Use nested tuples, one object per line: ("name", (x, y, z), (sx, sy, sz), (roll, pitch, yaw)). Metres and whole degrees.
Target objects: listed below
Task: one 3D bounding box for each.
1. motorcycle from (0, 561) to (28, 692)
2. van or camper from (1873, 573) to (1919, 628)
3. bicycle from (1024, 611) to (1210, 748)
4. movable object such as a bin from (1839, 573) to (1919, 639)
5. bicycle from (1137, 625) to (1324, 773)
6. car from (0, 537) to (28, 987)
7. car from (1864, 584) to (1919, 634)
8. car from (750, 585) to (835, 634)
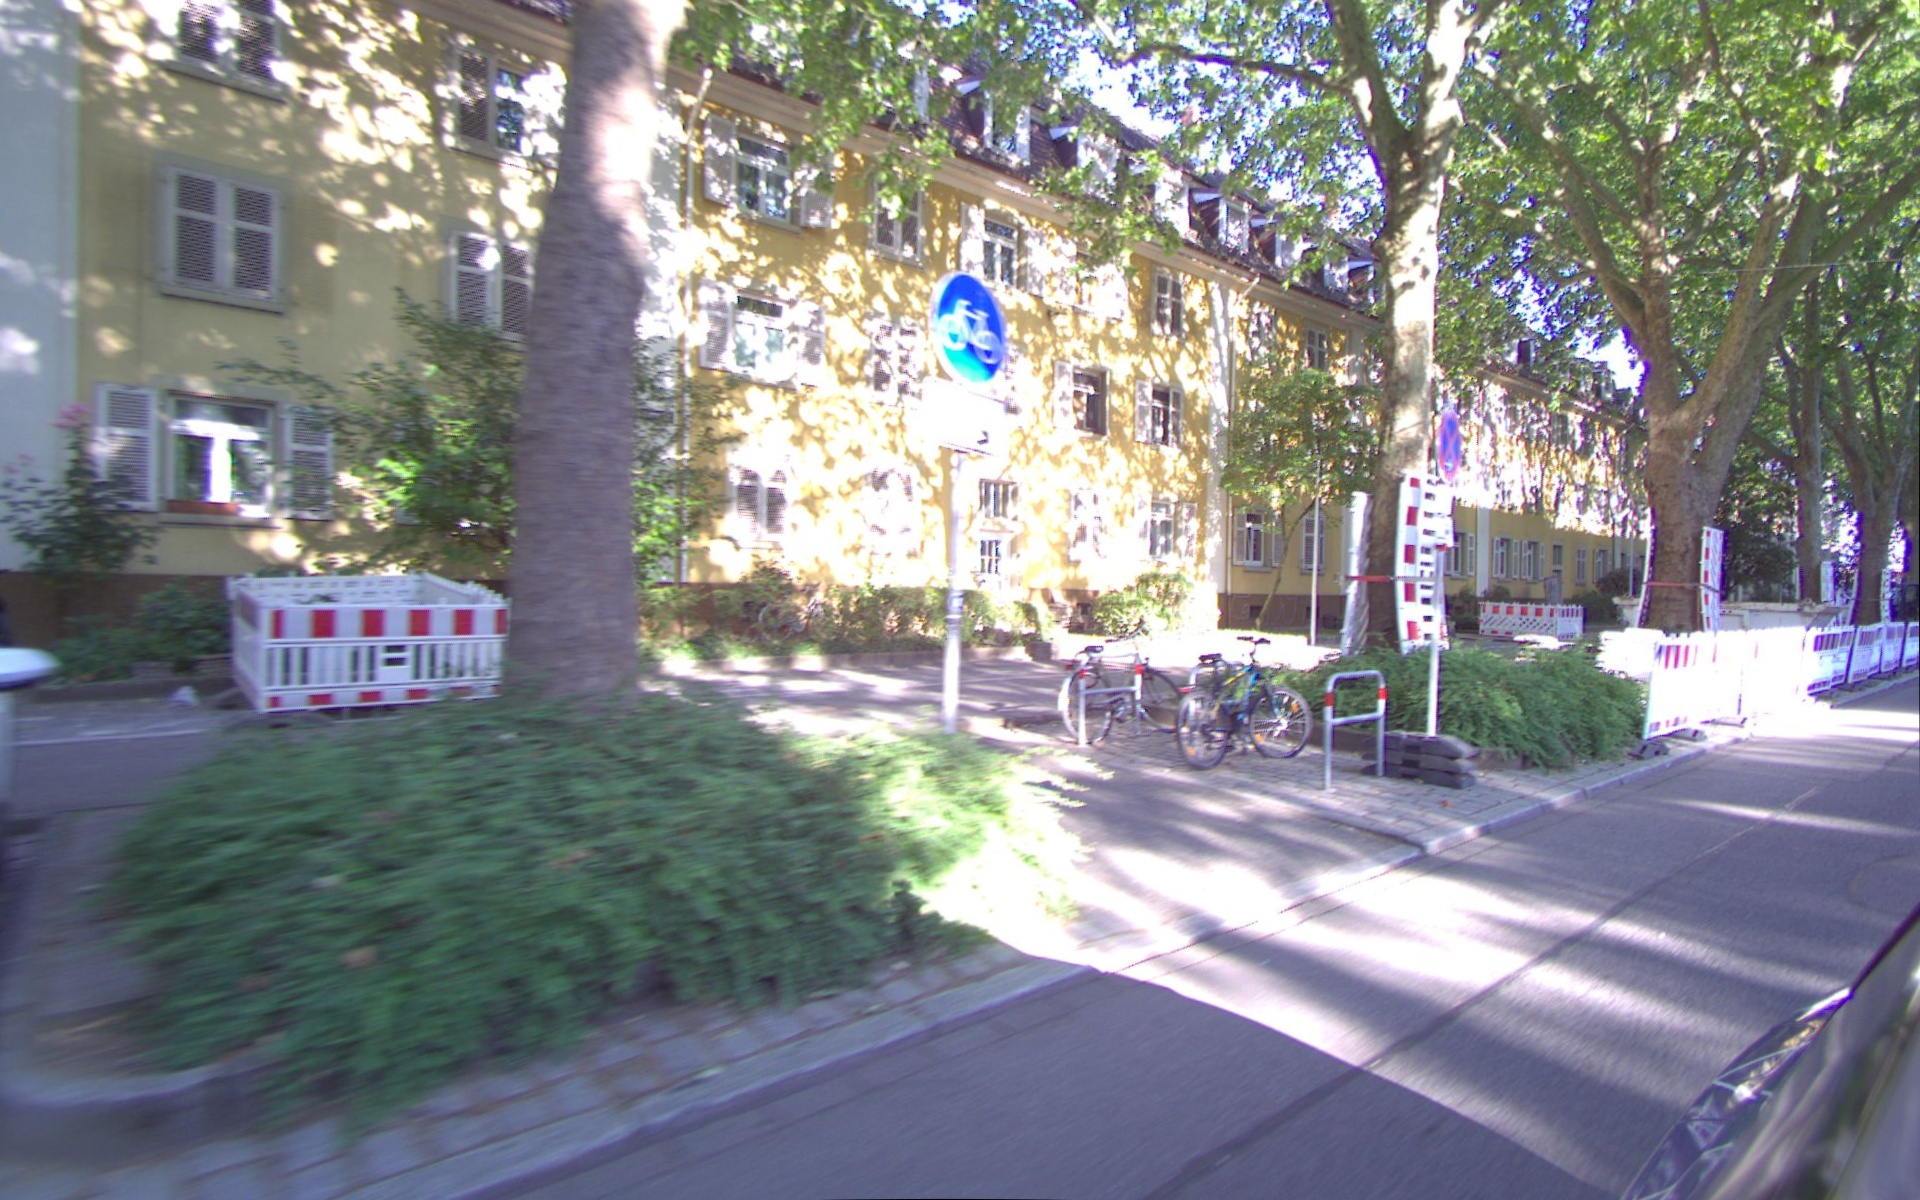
("motorcycle", (-10.072, 0.231, 10.373), (0.701, 1.265, 1.993), (0, 1, -41))
("van or camper", (48.212, 0.073, 48.778), (2.229, 2.662, 5.942), (-1, 2, -38))
("bicycle", (1.548, 0.706, 9.789), (1.914, 1.169, 0.692), (0, 1, -41))
("movable object such as a bin", (33.528, 0.219, 36.092), (3.210, 2.297, 1.488), (1, 0, -7))
("bicycle", (2.325, 0.783, 8.597), (1.777, 1.084, 0.636), (0, 1, -41))
("car", (-4.217, 0.555, 3.095), (1.883, 1.540, 4.095), (-1, 2, -41))
("car", (41.271, 0.423, 42.397), (2.027, 2.038, 4.845), (1, 1, -40))
("car", (-3.070, 0.175, 18.634), (1.546, 0.863, 0.445), (0, -1, -40))
